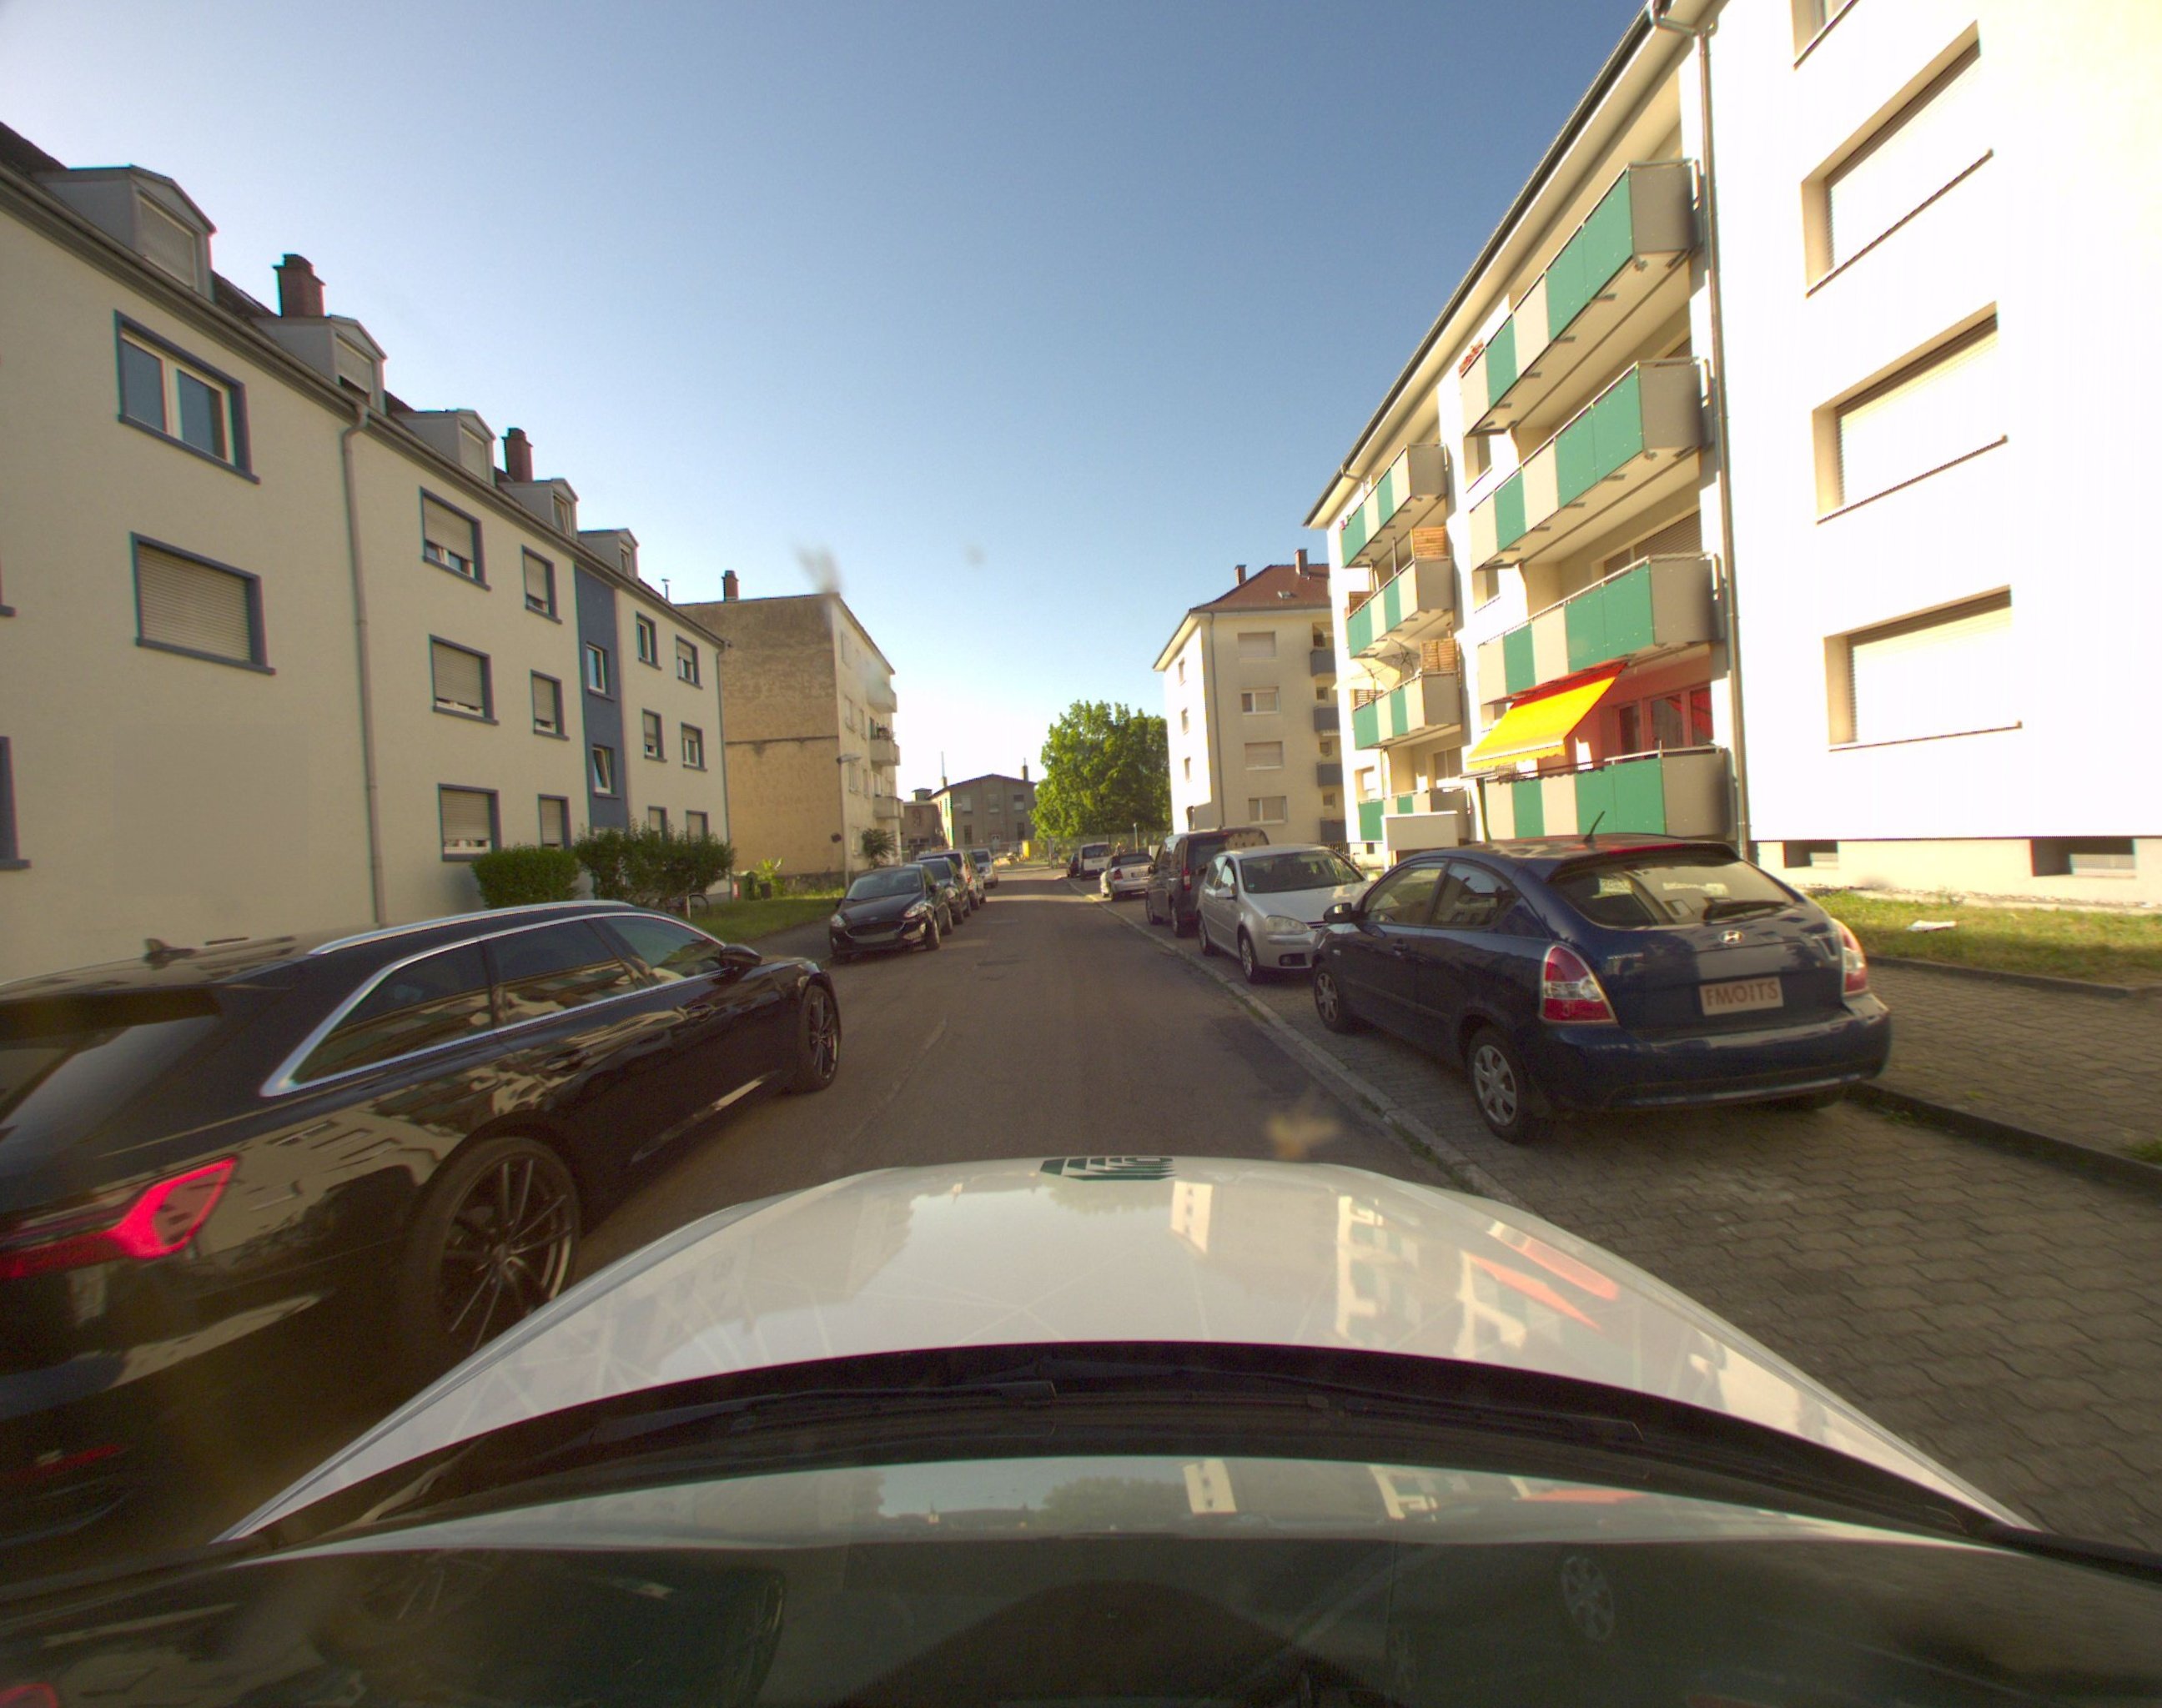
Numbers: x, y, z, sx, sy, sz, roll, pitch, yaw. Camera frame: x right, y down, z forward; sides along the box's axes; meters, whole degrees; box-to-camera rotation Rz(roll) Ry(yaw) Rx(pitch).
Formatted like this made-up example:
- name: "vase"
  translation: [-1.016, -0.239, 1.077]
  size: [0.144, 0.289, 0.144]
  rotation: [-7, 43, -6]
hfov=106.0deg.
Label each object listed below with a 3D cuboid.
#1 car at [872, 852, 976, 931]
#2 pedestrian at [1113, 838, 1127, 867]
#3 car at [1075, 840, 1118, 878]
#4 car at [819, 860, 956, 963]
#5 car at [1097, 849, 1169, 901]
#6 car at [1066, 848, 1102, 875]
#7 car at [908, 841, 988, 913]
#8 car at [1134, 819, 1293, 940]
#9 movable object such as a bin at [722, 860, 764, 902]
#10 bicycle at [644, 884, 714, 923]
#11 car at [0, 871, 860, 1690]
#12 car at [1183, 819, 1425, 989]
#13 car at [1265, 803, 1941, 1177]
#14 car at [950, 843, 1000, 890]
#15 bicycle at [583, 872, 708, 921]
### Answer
- name: "car"
  translation: [-3.611, 0.813, 19.366]
  size: [1.829, 1.515, 3.994]
  rotation: [-5, 0, -4]
- name: "pedestrian"
  translation: [2.512, -0.108, 52.161]
  size: [0.651, 1.815, 0.615]
  rotation: [-5, 0, 6]
- name: "car"
  translation: [0.729, 0.259, 42.071]
  size: [1.762, 1.739, 4.089]
  rotation: [-5, 0, -4]
- name: "car"
  translation: [-3.309, 0.904, 14.643]
  size: [1.655, 1.443, 3.866]
  rotation: [-5, 0, -4]
- name: "car"
  translation: [1.577, 0.610, 26.051]
  size: [1.713, 1.364, 4.050]
  rotation: [-5, 0, -3]
- name: "car"
  translation: [0.123, 0.433, 47.571]
  size: [1.762, 1.362, 4.089]
  rotation: [-5, 0, -4]
- name: "car"
  translation: [-3.960, 0.664, 24.891]
  size: [1.893, 1.855, 4.189]
  rotation: [-4, 0, -4]
- name: "car"
  translation: [2.336, 0.447, 15.601]
  size: [1.893, 1.855, 4.336]
  rotation: [-4, 0, -5]
- name: "movable object such as a bin"
  translation: [-13.568, 1.056, 32.707]
  size: [1.067, 1.539, 1.355]
  rotation: [-5, 0, -6]
- name: "bicycle"
  translation: [-11.593, 1.420, 23.518]
  size: [1.643, 0.936, 0.547]
  rotation: [-6, 0, -2]
- name: "car"
  translation: [-2.665, 0.947, 3.866]
  size: [1.737, 1.431, 4.600]
  rotation: [-6, 0, 1]
- name: "car"
  translation: [2.523, 0.493, 10.286]
  size: [1.678, 1.587, 4.008]
  rotation: [-5, 0, -3]
- name: "car"
  translation: [2.756, 0.580, 5.682]
  size: [1.733, 1.431, 4.353]
  rotation: [-6, 0, -2]
- name: "car"
  translation: [-5.203, 0.612, 40.408]
  size: [1.990, 2.013, 4.448]
  rotation: [-5, 0, -4]
- name: "bicycle"
  translation: [-11.125, 1.076, 20.888]
  size: [2.669, 1.130, 0.771]
  rotation: [-1, 0, -11]
